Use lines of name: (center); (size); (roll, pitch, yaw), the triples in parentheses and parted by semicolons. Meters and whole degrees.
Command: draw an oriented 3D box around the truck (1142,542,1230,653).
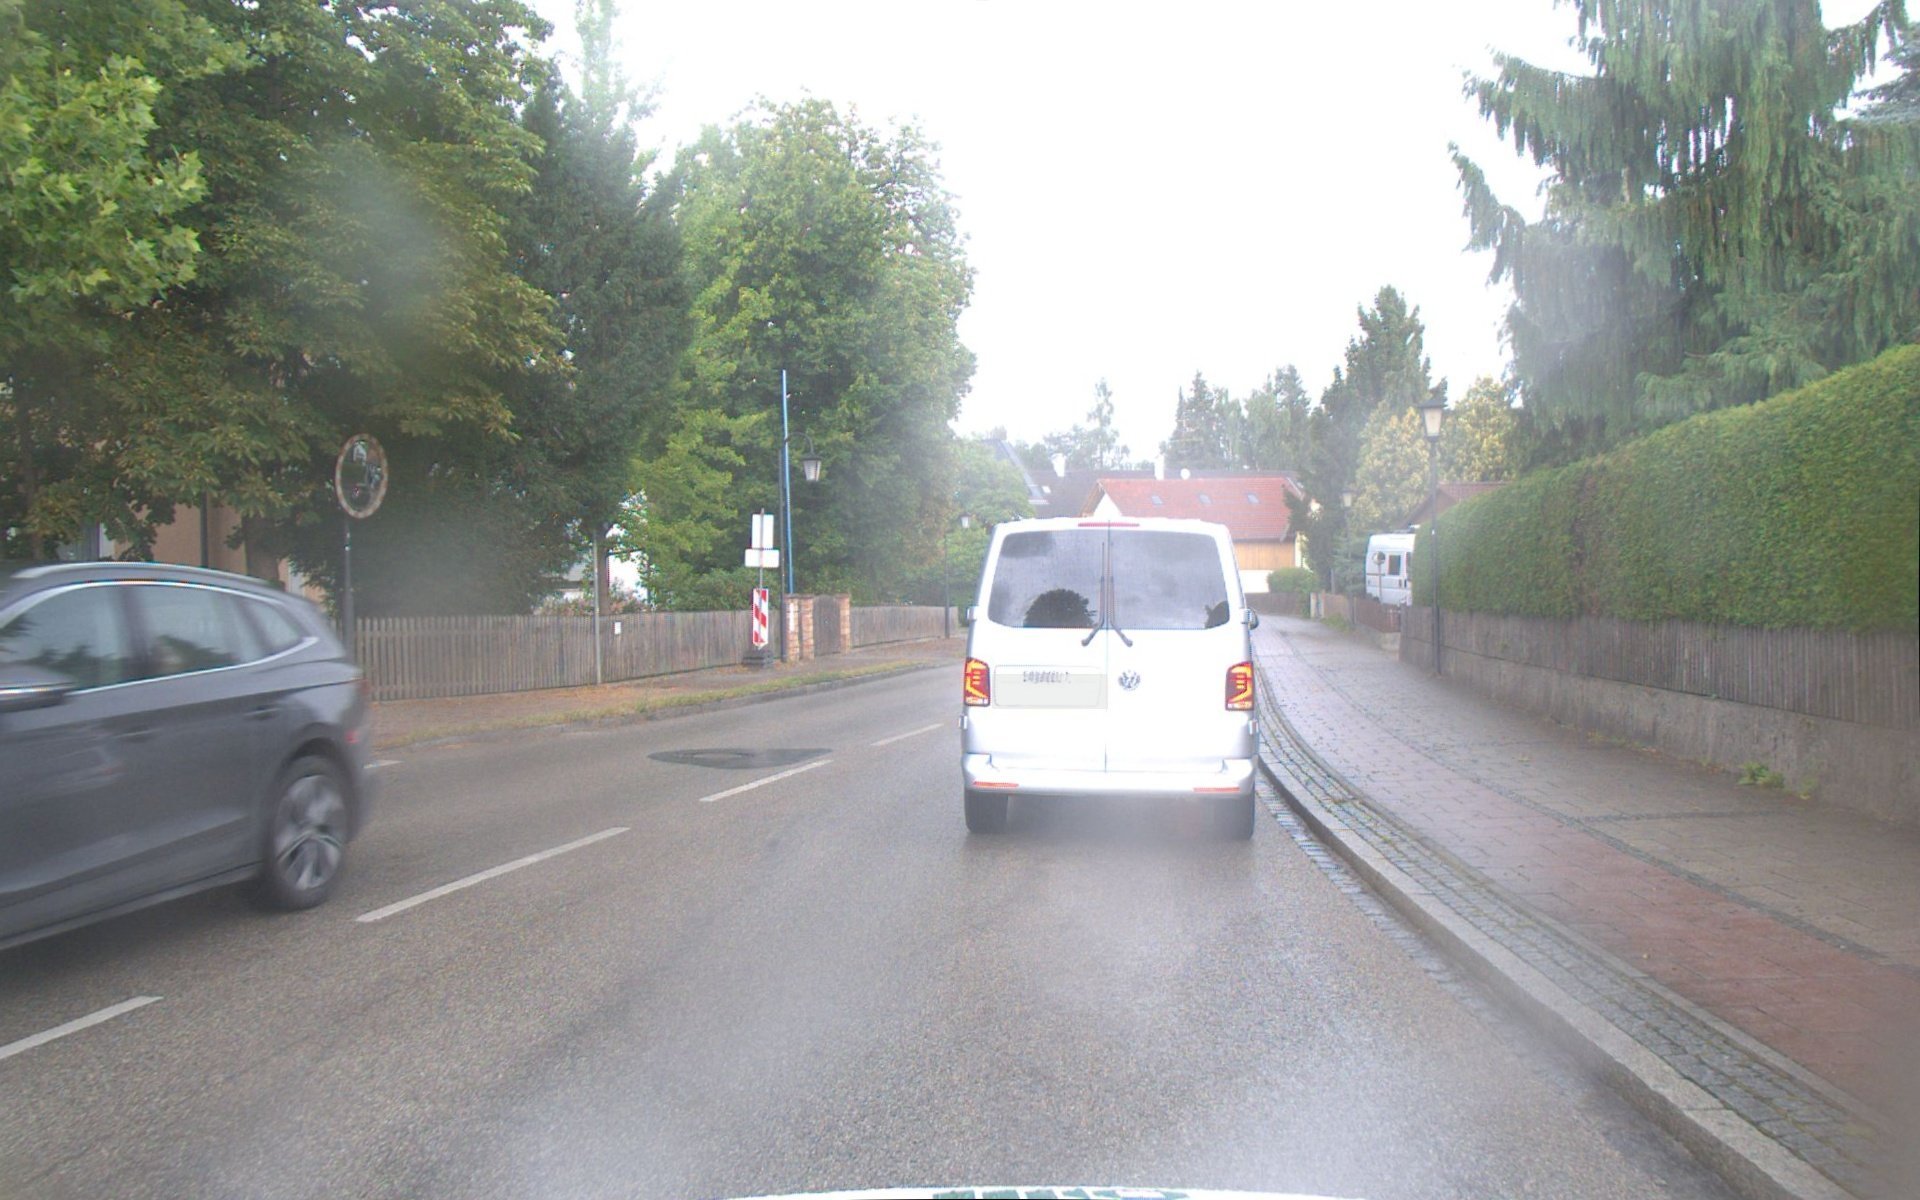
truck: (6.886, -0.042, 50.089); (2.423, 3.128, 6.301); (1, 0, 9)

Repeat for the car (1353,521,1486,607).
car: (12.561, -0.925, 45.534); (1.954, 2.211, 4.948); (1, 0, -4)

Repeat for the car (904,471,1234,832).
car: (0.939, 0.301, 11.528); (1.762, 2.049, 4.003); (1, 0, 11)

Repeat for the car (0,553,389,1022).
car: (-4.185, 0.634, 6.509); (1.951, 1.623, 4.195); (1, 0, 8)

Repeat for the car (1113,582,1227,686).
car: (3.616, 0.547, 28.151); (1.762, 1.616, 4.003); (1, 0, 9)
